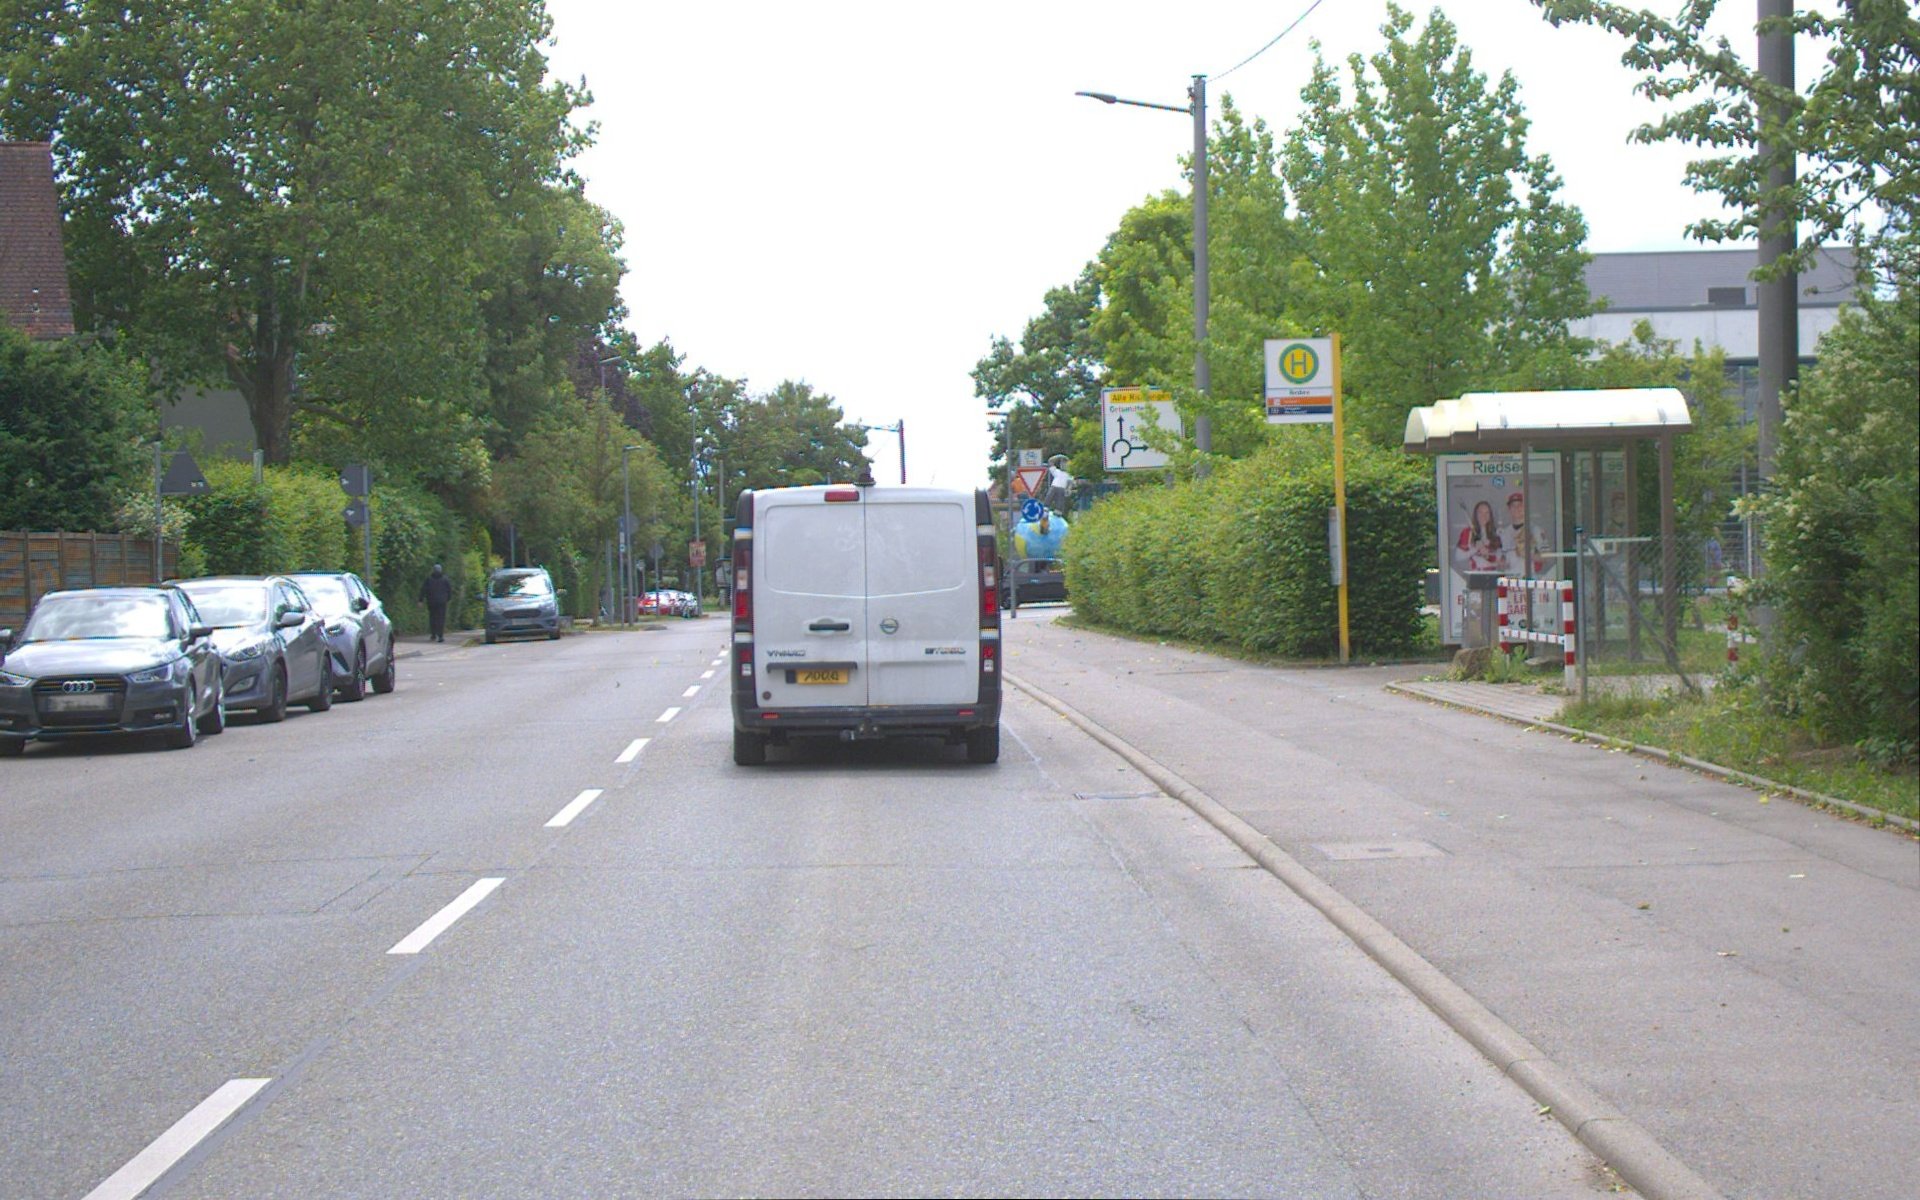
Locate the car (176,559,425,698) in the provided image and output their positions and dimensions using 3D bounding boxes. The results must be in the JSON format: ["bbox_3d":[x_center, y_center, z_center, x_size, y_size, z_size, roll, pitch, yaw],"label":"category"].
[{"bbox_3d":[-7.824,0.300,41.238,1.993,1.474,4.647,-3,1,1],"label":"car"}]

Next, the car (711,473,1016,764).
[{"bbox_3d":[-0.736,0.080,25.442,2.034,1.939,4.994,0,1,-2],"label":"car"}]

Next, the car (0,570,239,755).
[{"bbox_3d":[-7.534,0.509,30.799,1.651,1.422,3.907,-3,2,-6],"label":"car"}]

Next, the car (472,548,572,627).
[{"bbox_3d":[-10.220,-0.309,80.012,2.131,1.766,4.466,0,1,-9],"label":"car"}]

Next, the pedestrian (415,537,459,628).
[{"bbox_3d":[-11.868,-0.399,78.044,0.871,2.007,1.041,-3,1,-6],"label":"pedestrian"}]

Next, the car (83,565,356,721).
[{"bbox_3d":[-7.603,0.397,35.716,1.867,1.454,4.489,-2,1,0],"label":"car"}]

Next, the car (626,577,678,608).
[{"bbox_3d":[-15.195,-0.393,169.531,2.062,1.381,4.049,-2,1,-12],"label":"car"}]
